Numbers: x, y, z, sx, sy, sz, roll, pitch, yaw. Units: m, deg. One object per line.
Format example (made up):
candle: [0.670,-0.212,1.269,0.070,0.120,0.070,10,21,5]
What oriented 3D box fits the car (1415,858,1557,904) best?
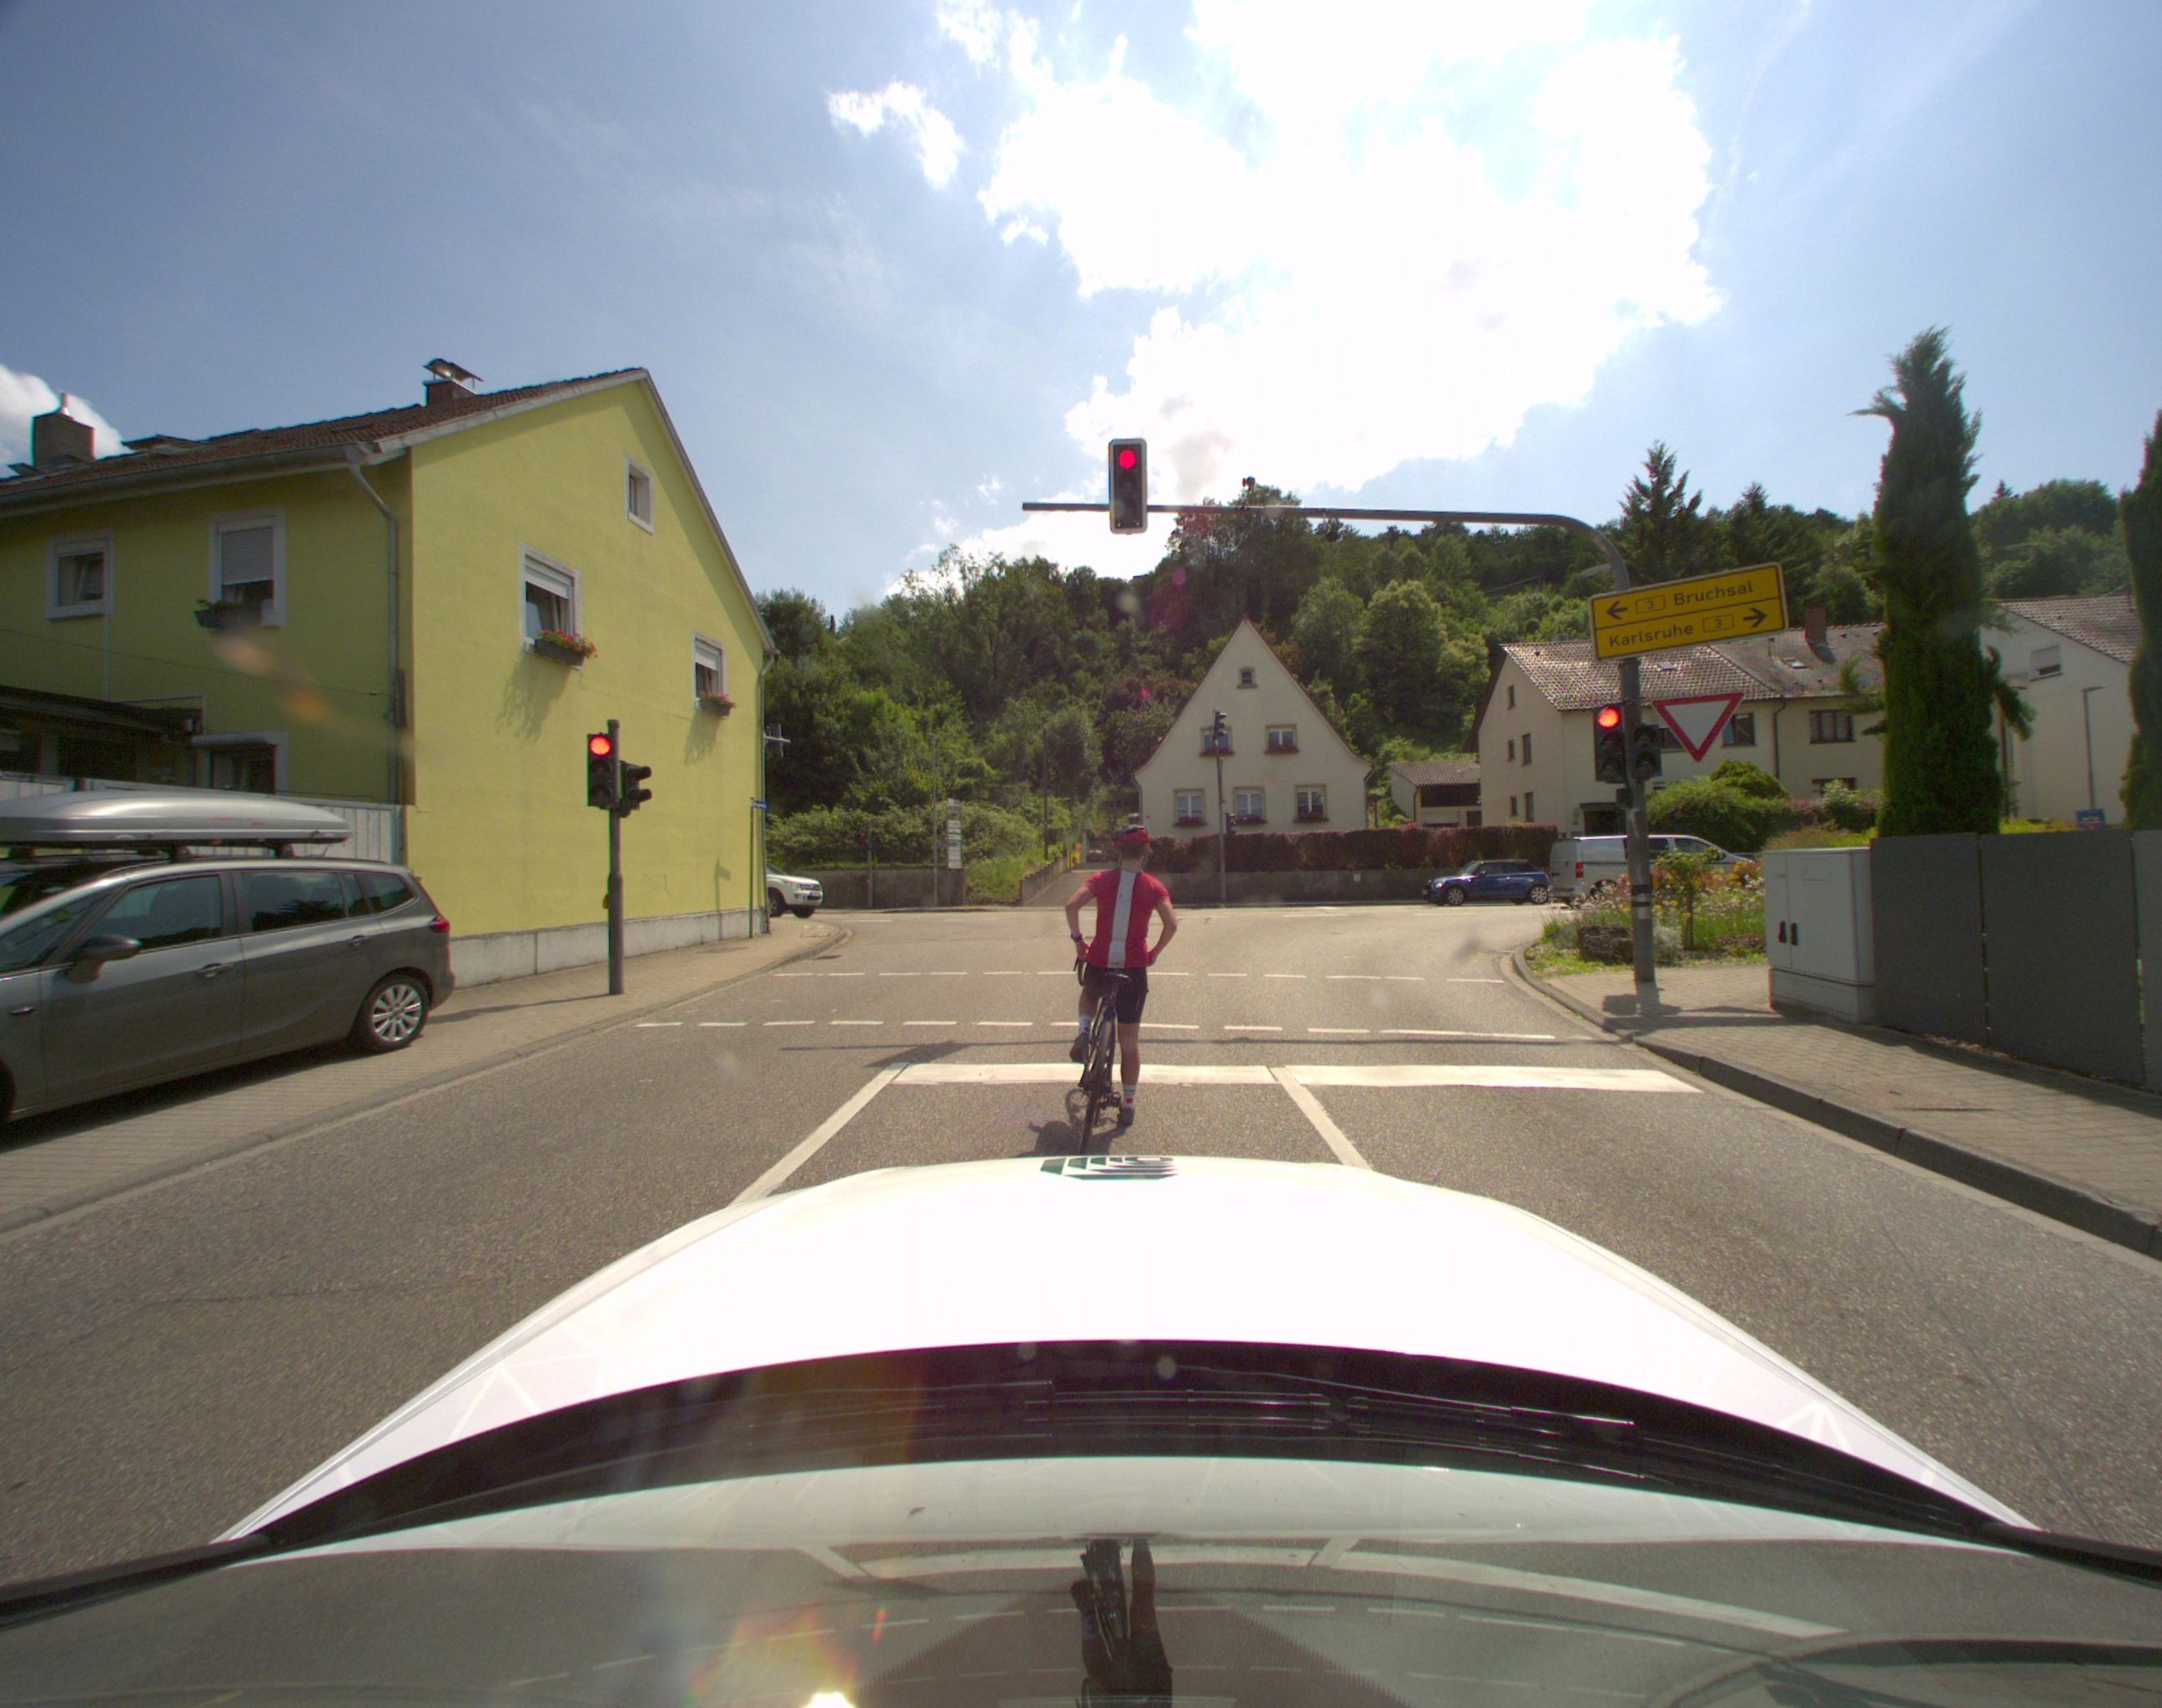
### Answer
car: [12.548,0.856,25.422,3.590,1.363,1.647,-1,-3,6]

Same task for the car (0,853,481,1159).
car: [-6.731,0.815,5.364,1.986,1.635,4.632,0,0,2]

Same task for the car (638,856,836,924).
car: [-10.460,1.081,24.886,5.263,1.775,1.985,-3,0,11]

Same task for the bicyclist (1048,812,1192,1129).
bicyclist: [0.201,0.610,4.725,0.758,1.664,0.868,0,-1,-1]

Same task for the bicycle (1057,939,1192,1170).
bicycle: [0.197,1.021,4.630,0.628,0.905,1.656,0,0,-1]

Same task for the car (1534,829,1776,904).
car: [15.036,0.372,21.590,4.849,1.822,2.002,-1,-3,5]
